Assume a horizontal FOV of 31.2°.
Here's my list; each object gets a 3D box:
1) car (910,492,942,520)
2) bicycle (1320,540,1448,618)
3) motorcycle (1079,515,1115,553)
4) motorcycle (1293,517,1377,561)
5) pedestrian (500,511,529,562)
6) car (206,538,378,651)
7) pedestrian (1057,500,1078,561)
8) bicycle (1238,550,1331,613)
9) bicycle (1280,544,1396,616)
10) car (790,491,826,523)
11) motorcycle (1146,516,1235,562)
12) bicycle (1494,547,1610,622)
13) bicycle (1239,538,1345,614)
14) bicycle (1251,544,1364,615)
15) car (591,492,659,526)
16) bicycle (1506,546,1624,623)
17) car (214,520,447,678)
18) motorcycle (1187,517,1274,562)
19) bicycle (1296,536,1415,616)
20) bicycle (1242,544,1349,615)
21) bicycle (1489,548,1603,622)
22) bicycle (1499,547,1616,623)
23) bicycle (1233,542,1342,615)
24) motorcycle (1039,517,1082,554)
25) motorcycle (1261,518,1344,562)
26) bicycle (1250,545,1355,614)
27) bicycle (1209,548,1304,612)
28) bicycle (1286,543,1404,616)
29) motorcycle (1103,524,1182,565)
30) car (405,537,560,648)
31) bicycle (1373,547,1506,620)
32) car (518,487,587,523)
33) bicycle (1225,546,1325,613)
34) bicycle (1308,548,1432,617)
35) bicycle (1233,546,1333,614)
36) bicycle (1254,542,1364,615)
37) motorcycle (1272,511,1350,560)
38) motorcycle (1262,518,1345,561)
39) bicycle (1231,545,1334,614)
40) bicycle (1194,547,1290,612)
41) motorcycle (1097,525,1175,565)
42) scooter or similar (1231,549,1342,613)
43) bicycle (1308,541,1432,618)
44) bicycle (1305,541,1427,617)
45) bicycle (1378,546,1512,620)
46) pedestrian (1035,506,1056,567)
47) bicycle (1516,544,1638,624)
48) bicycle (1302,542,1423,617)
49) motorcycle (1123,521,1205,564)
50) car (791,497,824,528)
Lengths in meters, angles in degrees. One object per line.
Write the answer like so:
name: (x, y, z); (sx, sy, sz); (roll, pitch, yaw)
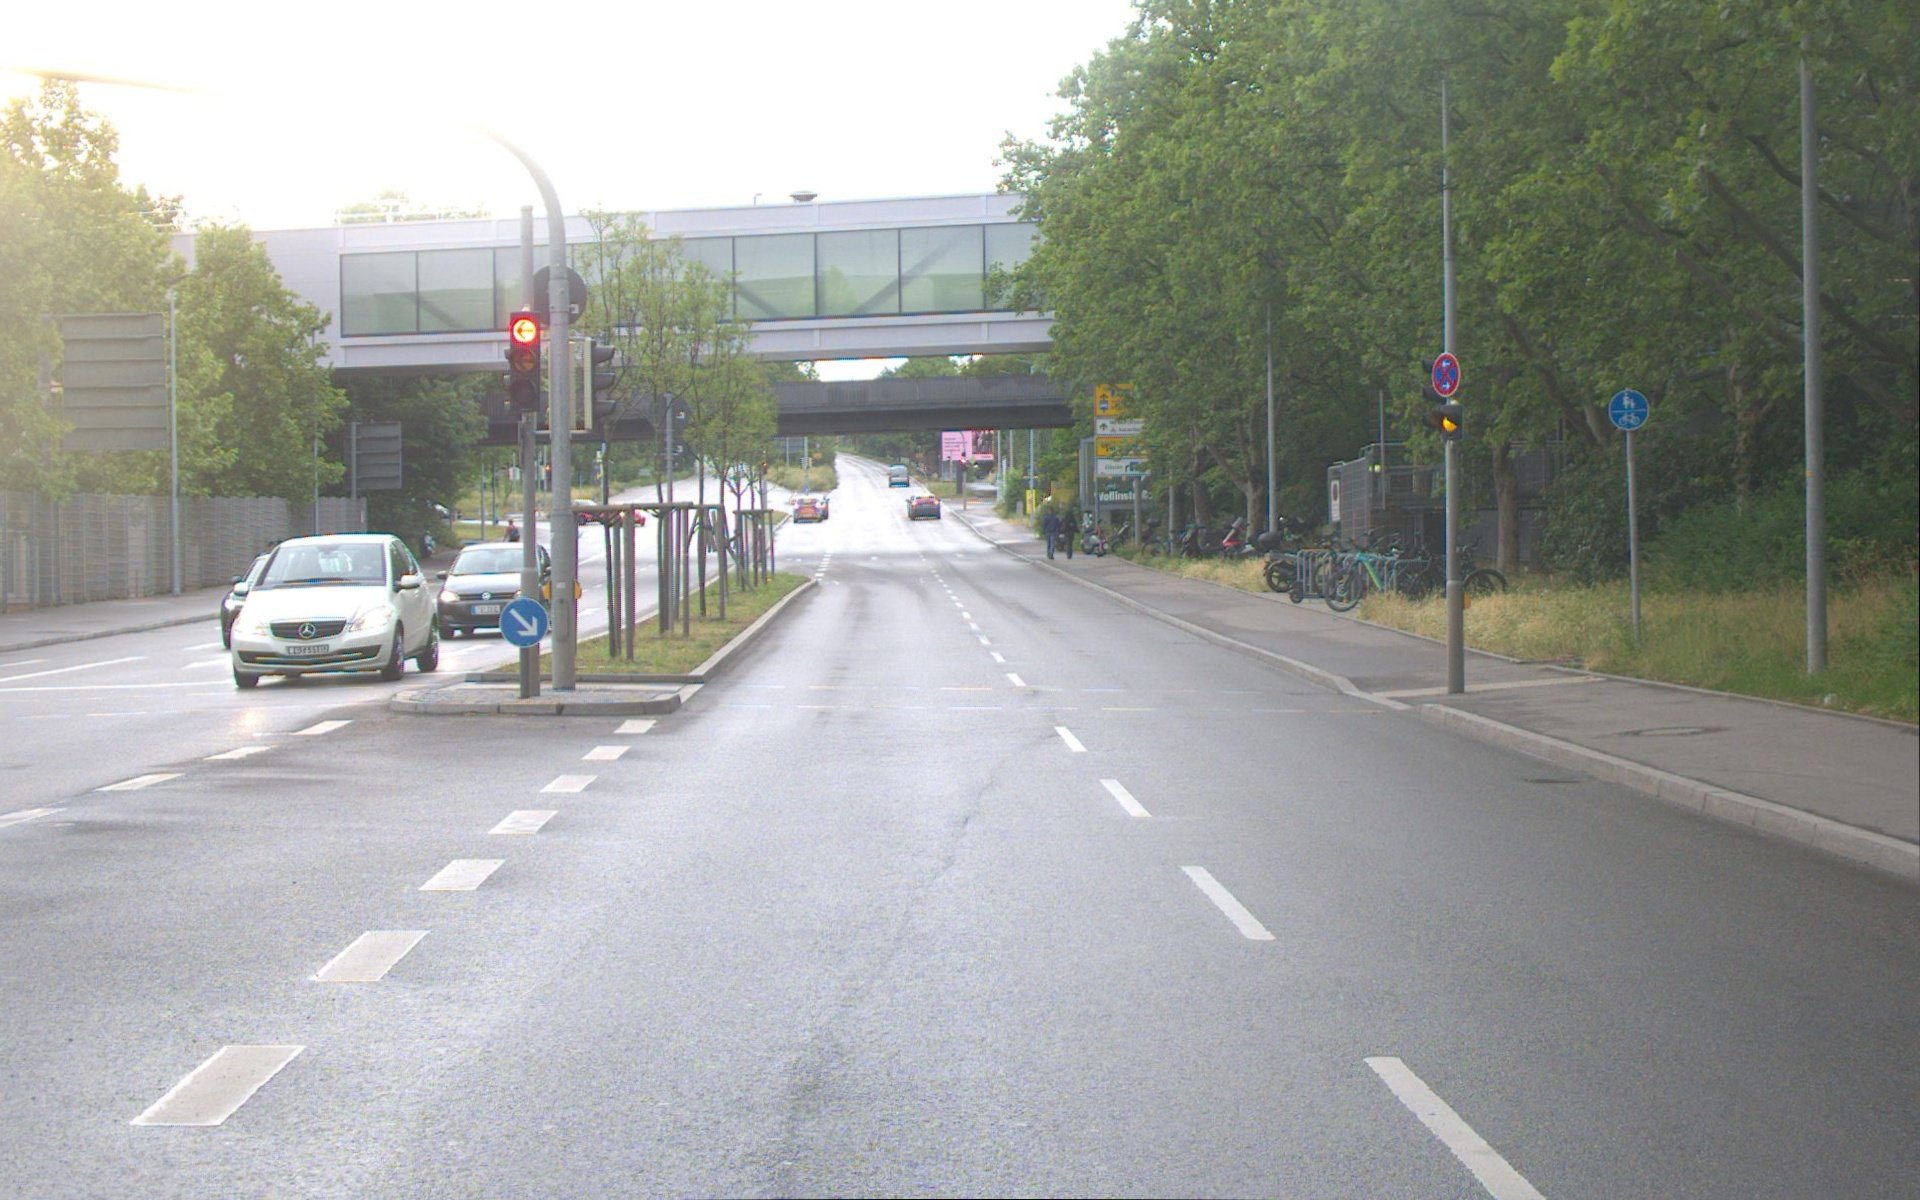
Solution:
car: (-1.999, -5.551, 202.868); (1.875, 1.492, 4.068); (2, 0, 0)
bicycle: (6.882, -0.345, 55.861); (1.990, 1.212, 0.541); (2, 0, 0)
motorcycle: (4.852, -2.348, 122.125); (0.790, 1.307, 2.377); (-2, 1, -9)
motorcycle: (10.794, -1.769, 98.905); (2.369, 1.198, 0.722); (-1, 1, 7)
pedestrian: (-17.860, -2.545, 137.878); (0.872, 1.997, 0.854); (3, 1, 8)
car: (-10.112, -0.119, 52.310); (1.877, 1.619, 3.779); (-1, 1, 0)
pedestrian: (3.582, -2.293, 114.096); (0.622, 2.007, 0.605); (-2, 1, 0)
bicycle: (7.152, -0.401, 75.851); (1.963, 1.324, 0.654); (2, 0, 0)
bicycle: (6.794, -0.362, 61.769); (1.990, 1.237, 0.541); (2, 0, 0)
car: (-9.131, -5.556, 206.679); (1.993, 1.756, 4.000); (2, 0, 0)
motorcycle: (6.368, -1.683, 94.863); (2.369, 1.198, 0.722); (-1, 1, 7)
bicycle: (10.883, -0.279, 63.232); (1.990, 1.324, 0.576); (2, 0, 0)
bicycle: (6.518, -0.466, 67.535); (1.990, 1.425, 0.723); (2, 0, 0)
bicycle: (6.379, -0.374, 63.143); (1.990, 1.237, 0.541); (2, 0, 0)
car: (-20.250, -5.494, 207.715); (1.994, 2.007, 3.998); (2, 0, -44)
bicycle: (10.883, -0.278, 61.918); (1.990, 1.324, 0.576); (2, 0, 0)
car: (-6.879, -0.049, 37.921); (1.877, 1.619, 3.779); (-1, 1, 0)
motorcycle: (7.615, -1.697, 96.771); (2.369, 1.198, 0.722); (-1, 1, 7)
bicycle: (6.914, -0.424, 60.128); (1.990, 1.336, 0.541); (2, 0, 0)
bicycle: (6.514, -0.403, 66.802); (1.990, 1.324, 0.576); (2, 0, 0)
bicycle: (10.886, -0.279, 63.901); (1.990, 1.324, 0.576); (2, 0, 0)
bicycle: (10.876, -0.279, 62.584); (1.990, 1.324, 0.576); (2, 0, 0)
bicycle: (6.265, -0.410, 65.858); (1.990, 1.324, 0.576); (2, 0, 0)
motorcycle: (3.657, -2.343, 125.339); (0.790, 1.307, 2.377); (-2, 1, -19)
motorcycle: (9.986, -1.748, 100.261); (2.369, 1.198, 0.722); (-1, 1, 7)
bicycle: (6.809, -0.408, 68.389); (1.990, 1.324, 0.576); (2, 0, 0)
bicycle: (6.398, -0.421, 74.348); (1.963, 1.324, 0.654); (2, 0, 0)
bicycle: (6.809, -0.361, 60.820); (1.990, 1.237, 0.541); (2, 0, 0)
motorcycle: (5.636, -1.699, 105.968); (2.369, 1.198, 0.722); (-1, 1, 7)
car: (-7.387, -0.151, 53.448); (1.877, 1.619, 3.779); (-1, 1, 0)
bicycle: (7.580, -0.264, 54.402); (1.990, 1.091, 0.541); (2, 0, 0)
car: (-24.144, -5.613, 203.577); (1.994, 2.007, 3.998); (2, 0, -44)
bicycle: (6.504, -0.417, 71.028); (1.963, 1.324, 0.654); (2, 0, 0)
bicycle: (6.849, -0.286, 57.469); (1.990, 1.091, 0.541); (2, 0, 0)
bicycle: (6.599, -0.414, 70.338); (1.960, 1.324, 0.576); (2, 0, 0)
bicycle: (6.598, -0.400, 65.049); (1.990, 1.324, 0.576); (2, 0, 0)
motorcycle: (10.921, -2.005, 107.010); (2.369, 1.471, 0.722); (-1, 1, 7)
motorcycle: (10.098, -1.780, 101.056); (2.369, 1.198, 0.722); (-1, 1, 7)
bicycle: (6.472, -0.405, 69.100); (1.990, 1.324, 0.576); (2, 0, 0)
bicycle: (6.025, -0.432, 73.543); (1.963, 1.324, 0.654); (2, 0, 0)
motorcycle: (5.521, -1.738, 108.018); (2.369, 1.198, 0.792); (-1, 1, 7)
scooter or similar: (6.073, -0.346, 63.935); (1.990, 1.134, 0.541); (2, 0, 0)
bicycle: (6.922, -0.346, 58.078); (1.990, 1.229, 0.541); (2, 0, 0)
bicycle: (6.930, -0.357, 58.674); (1.990, 1.237, 0.541); (2, 0, 0)
bicycle: (7.586, -0.263, 53.834); (1.990, 1.091, 0.541); (2, 0, 0)
pedestrian: (2.840, -2.107, 114.176); (0.622, 2.007, 0.605); (-2, 1, 0)
bicycle: (10.736, -0.282, 59.826); (1.990, 1.324, 0.576); (2, 0, 0)
bicycle: (6.931, -0.357, 59.265); (1.990, 1.237, 0.541); (2, 0, 0)
motorcycle: (6.027, -1.693, 101.511); (2.369, 1.198, 0.722); (-1, 1, 7)
car: (-9.355, -5.385, 211.128); (1.884, 1.756, 3.969); (2, 0, 0)
